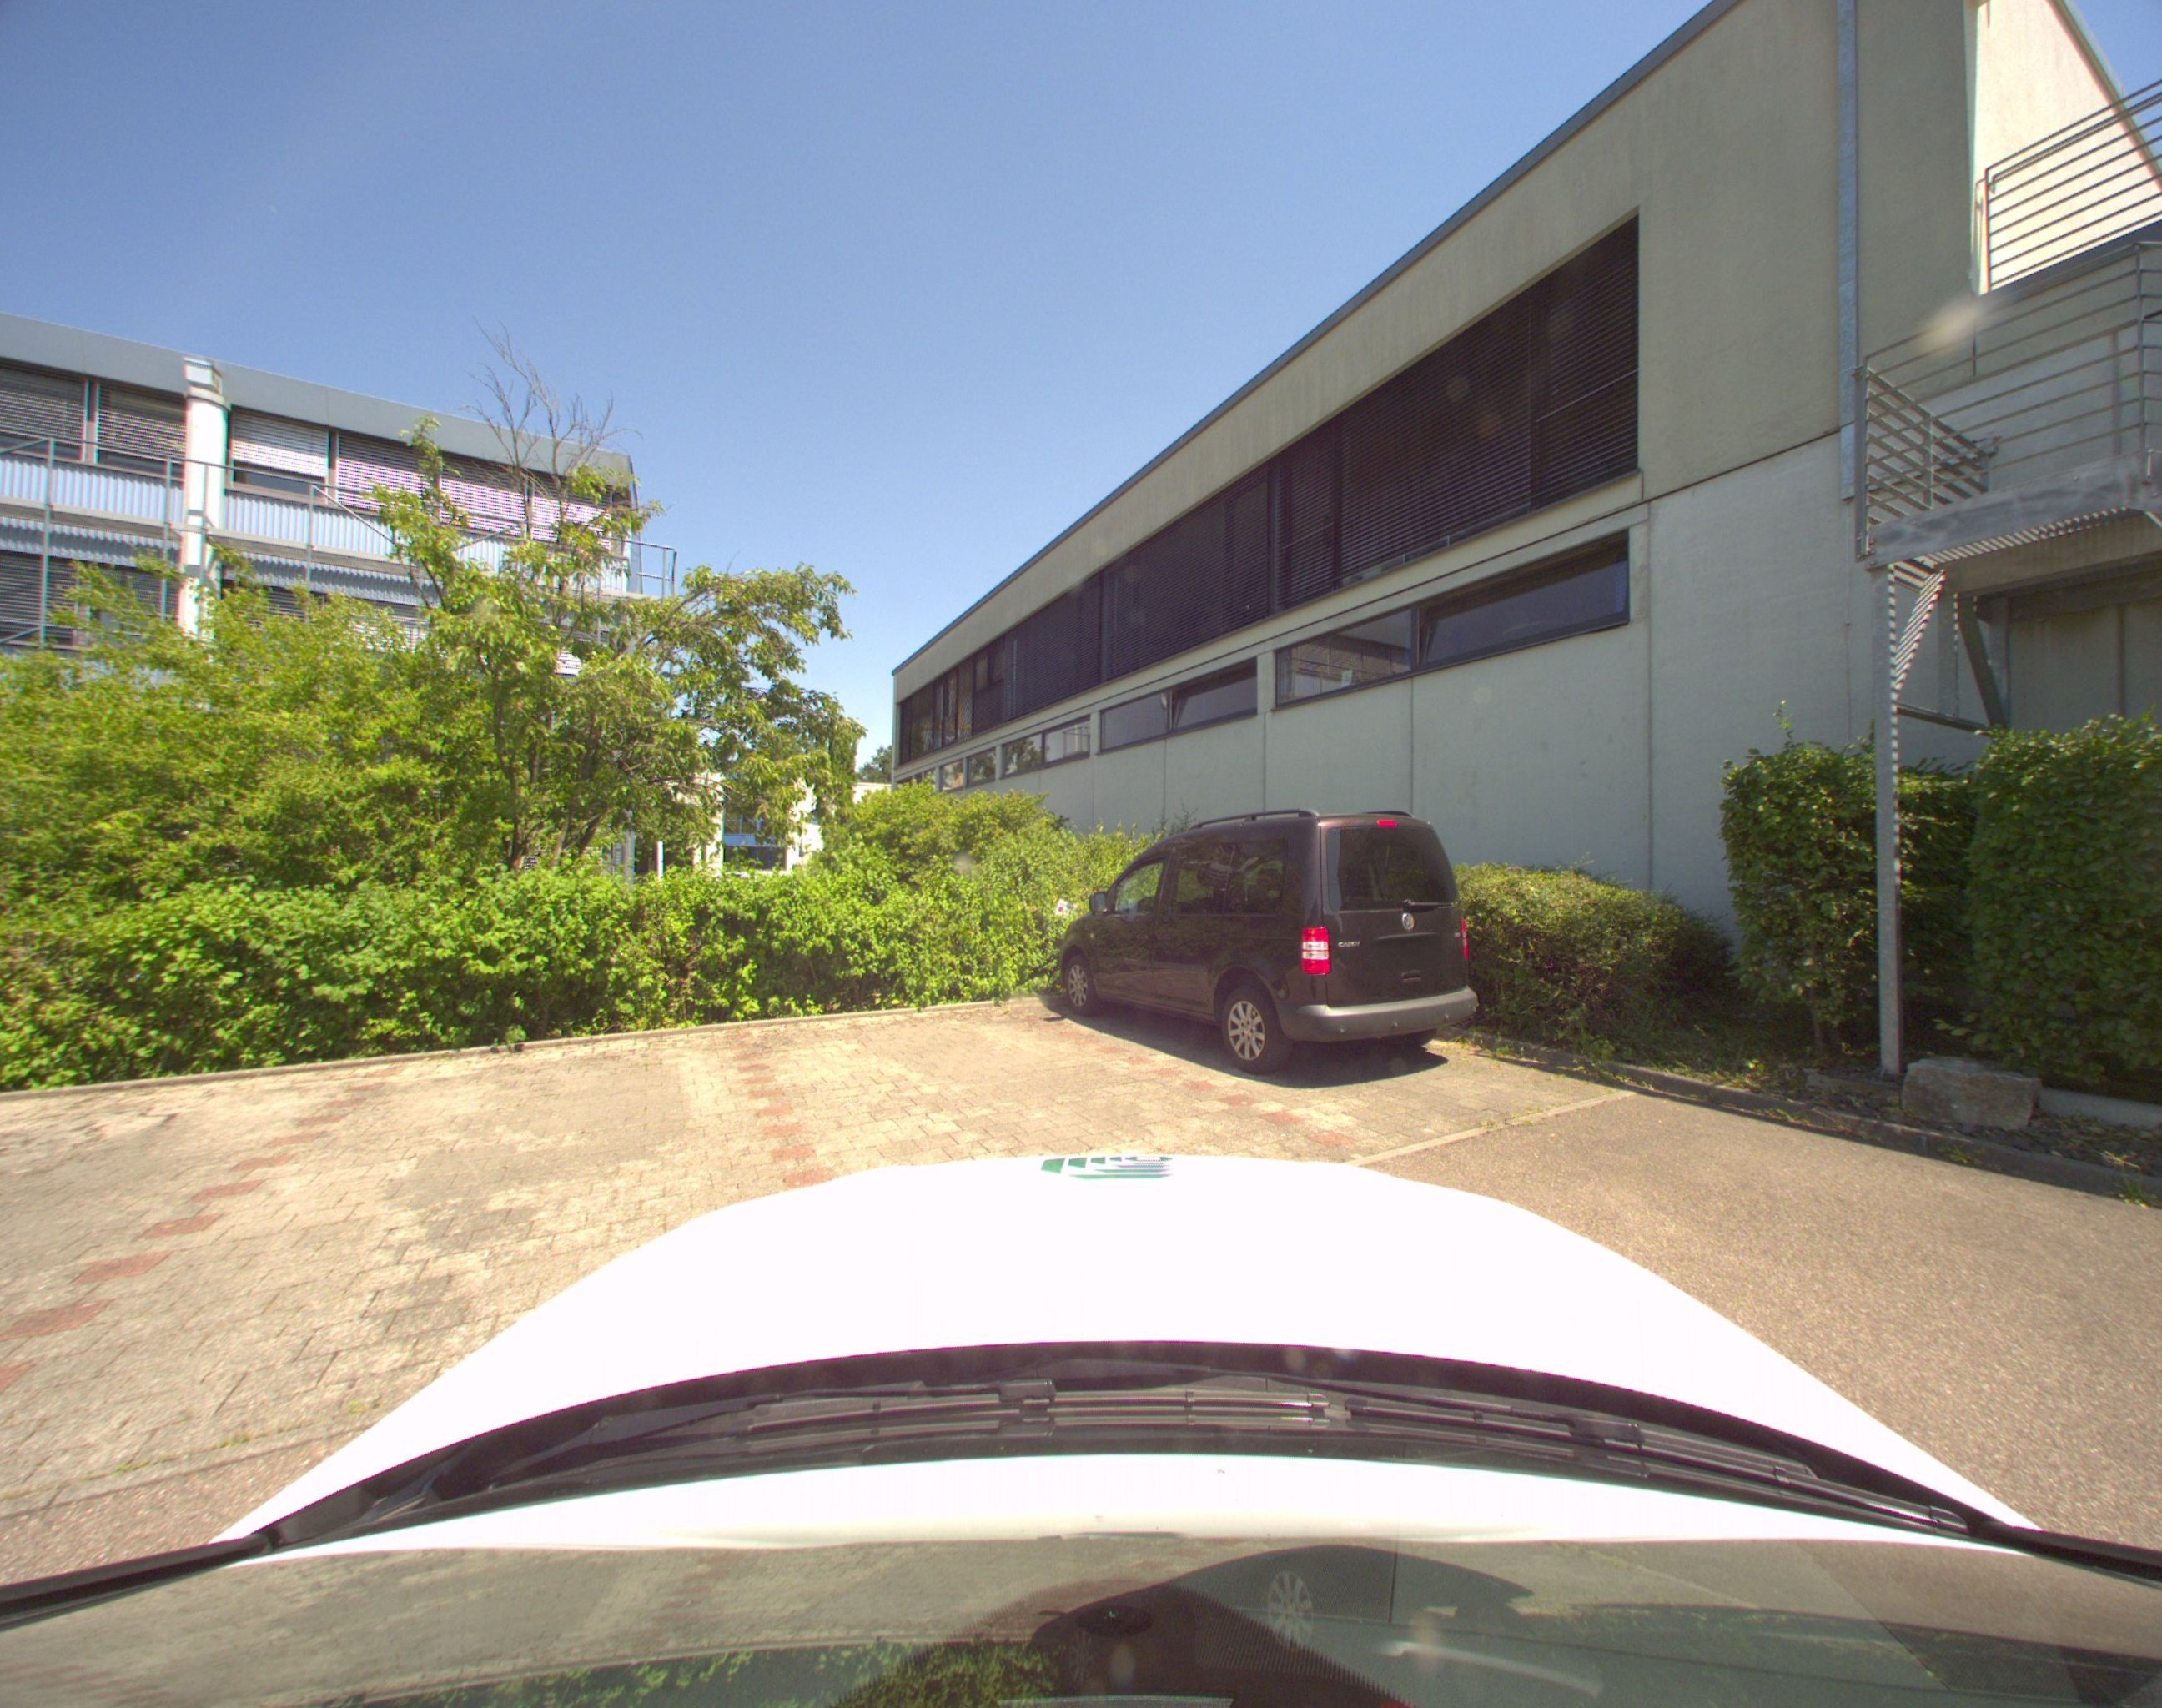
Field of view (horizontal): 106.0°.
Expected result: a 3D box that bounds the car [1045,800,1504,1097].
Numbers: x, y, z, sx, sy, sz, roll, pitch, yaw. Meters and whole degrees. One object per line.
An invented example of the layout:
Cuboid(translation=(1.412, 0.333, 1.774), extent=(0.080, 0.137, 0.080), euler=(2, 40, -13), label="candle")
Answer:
Cuboid(translation=(1.344, 0.613, 7.221), extent=(1.753, 1.837, 3.963), euler=(0, -1, -29), label="car")
